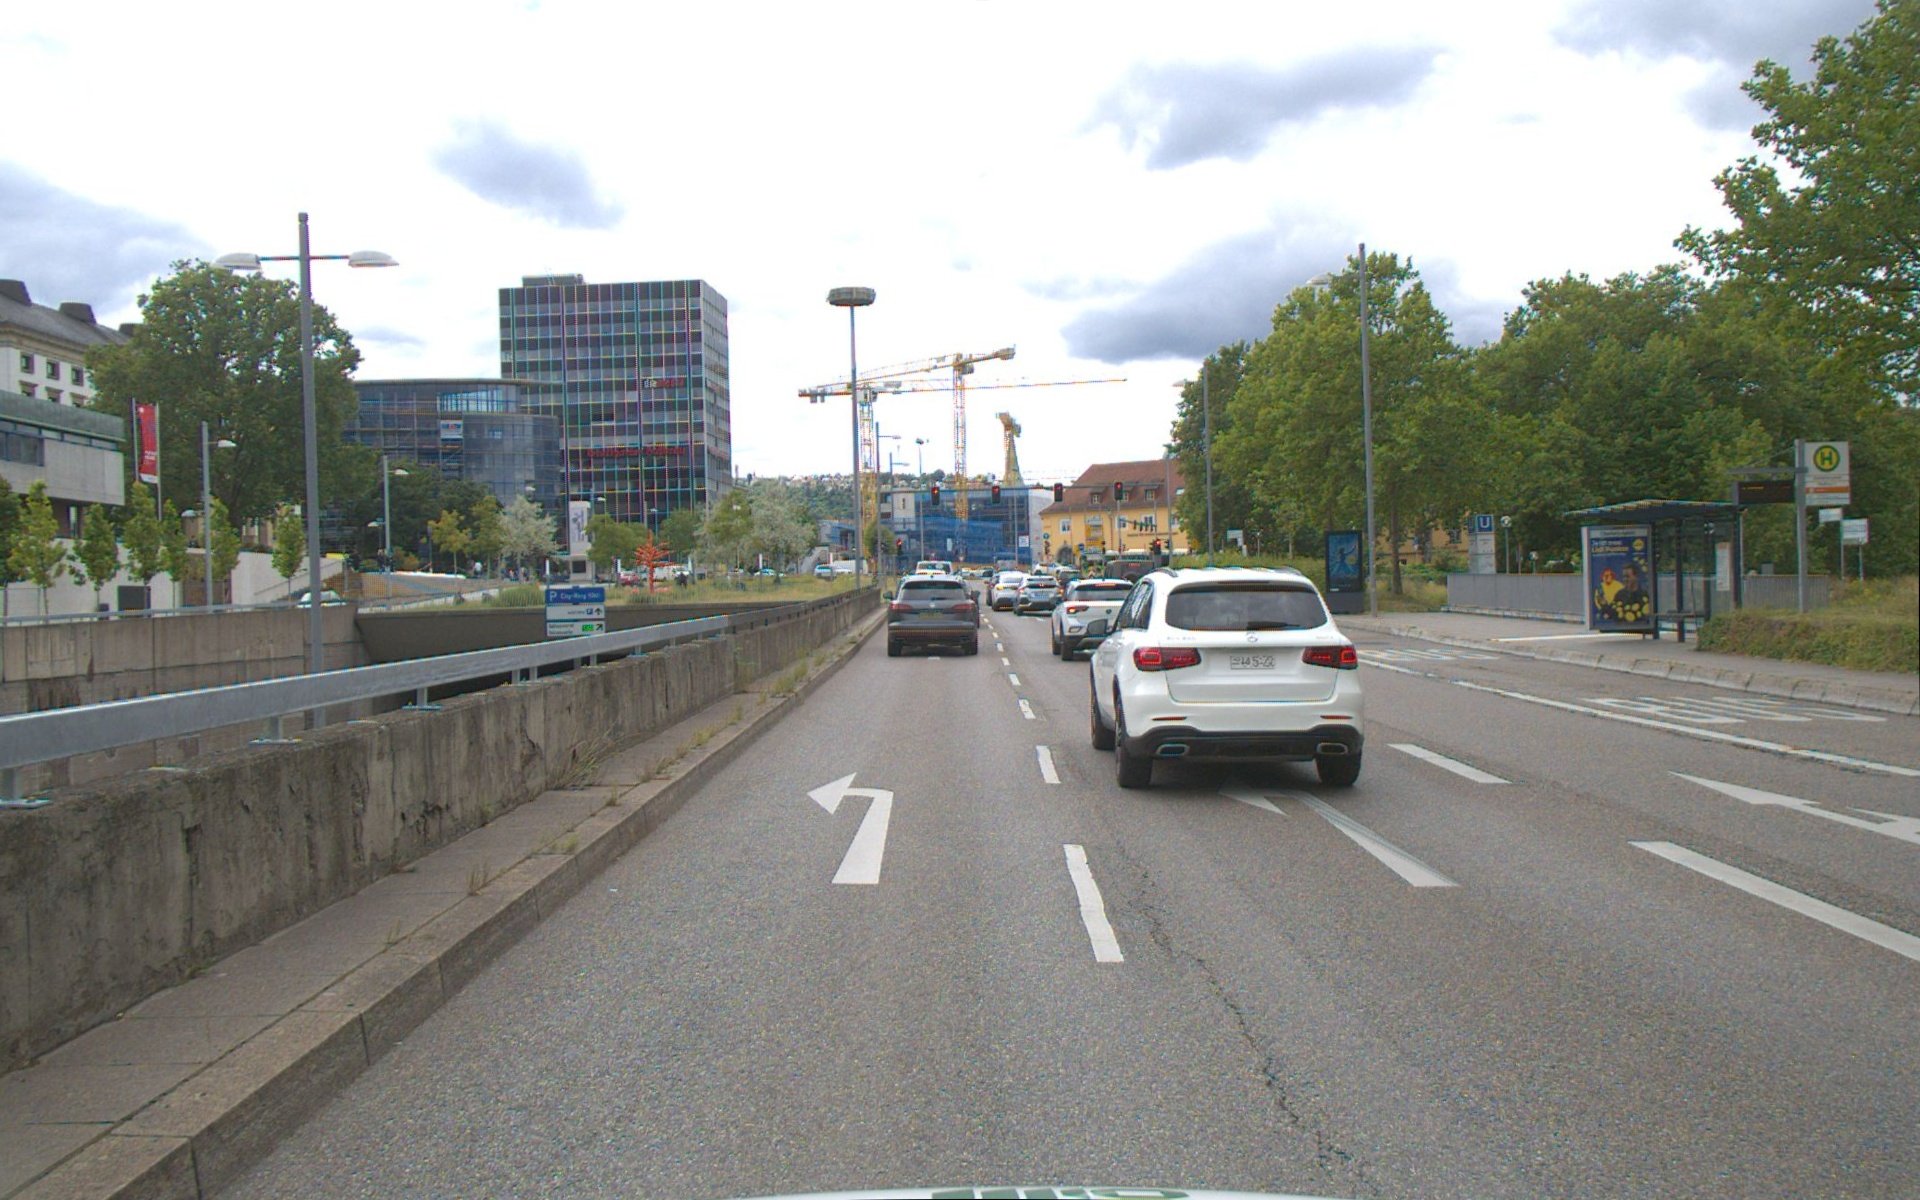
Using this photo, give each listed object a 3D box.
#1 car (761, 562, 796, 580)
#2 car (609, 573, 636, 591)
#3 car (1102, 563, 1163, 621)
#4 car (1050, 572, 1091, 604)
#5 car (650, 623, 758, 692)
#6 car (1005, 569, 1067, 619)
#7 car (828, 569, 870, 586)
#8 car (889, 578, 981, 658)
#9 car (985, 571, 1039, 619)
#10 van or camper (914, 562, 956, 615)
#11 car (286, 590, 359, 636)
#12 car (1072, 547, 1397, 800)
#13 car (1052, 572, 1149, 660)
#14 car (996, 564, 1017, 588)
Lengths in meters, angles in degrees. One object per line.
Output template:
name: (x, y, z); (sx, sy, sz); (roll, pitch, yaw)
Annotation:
car: (-21.871, -3.446, 199.164); (3.924, 2.049, 1.990); (1, -1, -18)
car: (-32.094, -1.703, 157.471); (1.829, 1.646, 3.480); (1, -1, -1)
car: (6.309, -0.292, 60.772); (1.751, 2.049, 3.999); (-1, 0, -1)
car: (5.713, -0.623, 85.776); (1.684, 1.612, 3.998); (1, 0, -2)
car: (-5.502, 1.211, 35.967); (1.684, 1.315, 4.000); (1, 0, 1)
car: (2.656, -0.184, 58.824); (1.953, 1.691, 3.999); (1, -1, -1)
car: (-14.246, -2.901, 212.824); (5.172, 2.096, 1.870); (0, -1, 29)
car: (-0.540, 0.356, 36.034); (1.883, 1.630, 3.999); (-1, 0, -1)
car: (2.013, -0.157, 65.326); (1.953, 1.812, 3.999); (1, -1, -1)
van or camper: (-1.169, -0.517, 78.177); (1.883, 2.360, 3.999); (-1, -2, -1)
car: (-30.936, 0.614, 80.402); (1.953, 2.048, 3.999); (-3, 0, -1)
car: (2.053, 0.530, 13.544); (1.901, 1.713, 3.999); (-1, -1, -1)
car: (2.800, 0.322, 33.637); (1.638, 1.656, 4.000); (1, 0, 0)
car: (4.249, -2.172, 151.131); (1.763, 2.049, 3.999); (1, -1, -1)
